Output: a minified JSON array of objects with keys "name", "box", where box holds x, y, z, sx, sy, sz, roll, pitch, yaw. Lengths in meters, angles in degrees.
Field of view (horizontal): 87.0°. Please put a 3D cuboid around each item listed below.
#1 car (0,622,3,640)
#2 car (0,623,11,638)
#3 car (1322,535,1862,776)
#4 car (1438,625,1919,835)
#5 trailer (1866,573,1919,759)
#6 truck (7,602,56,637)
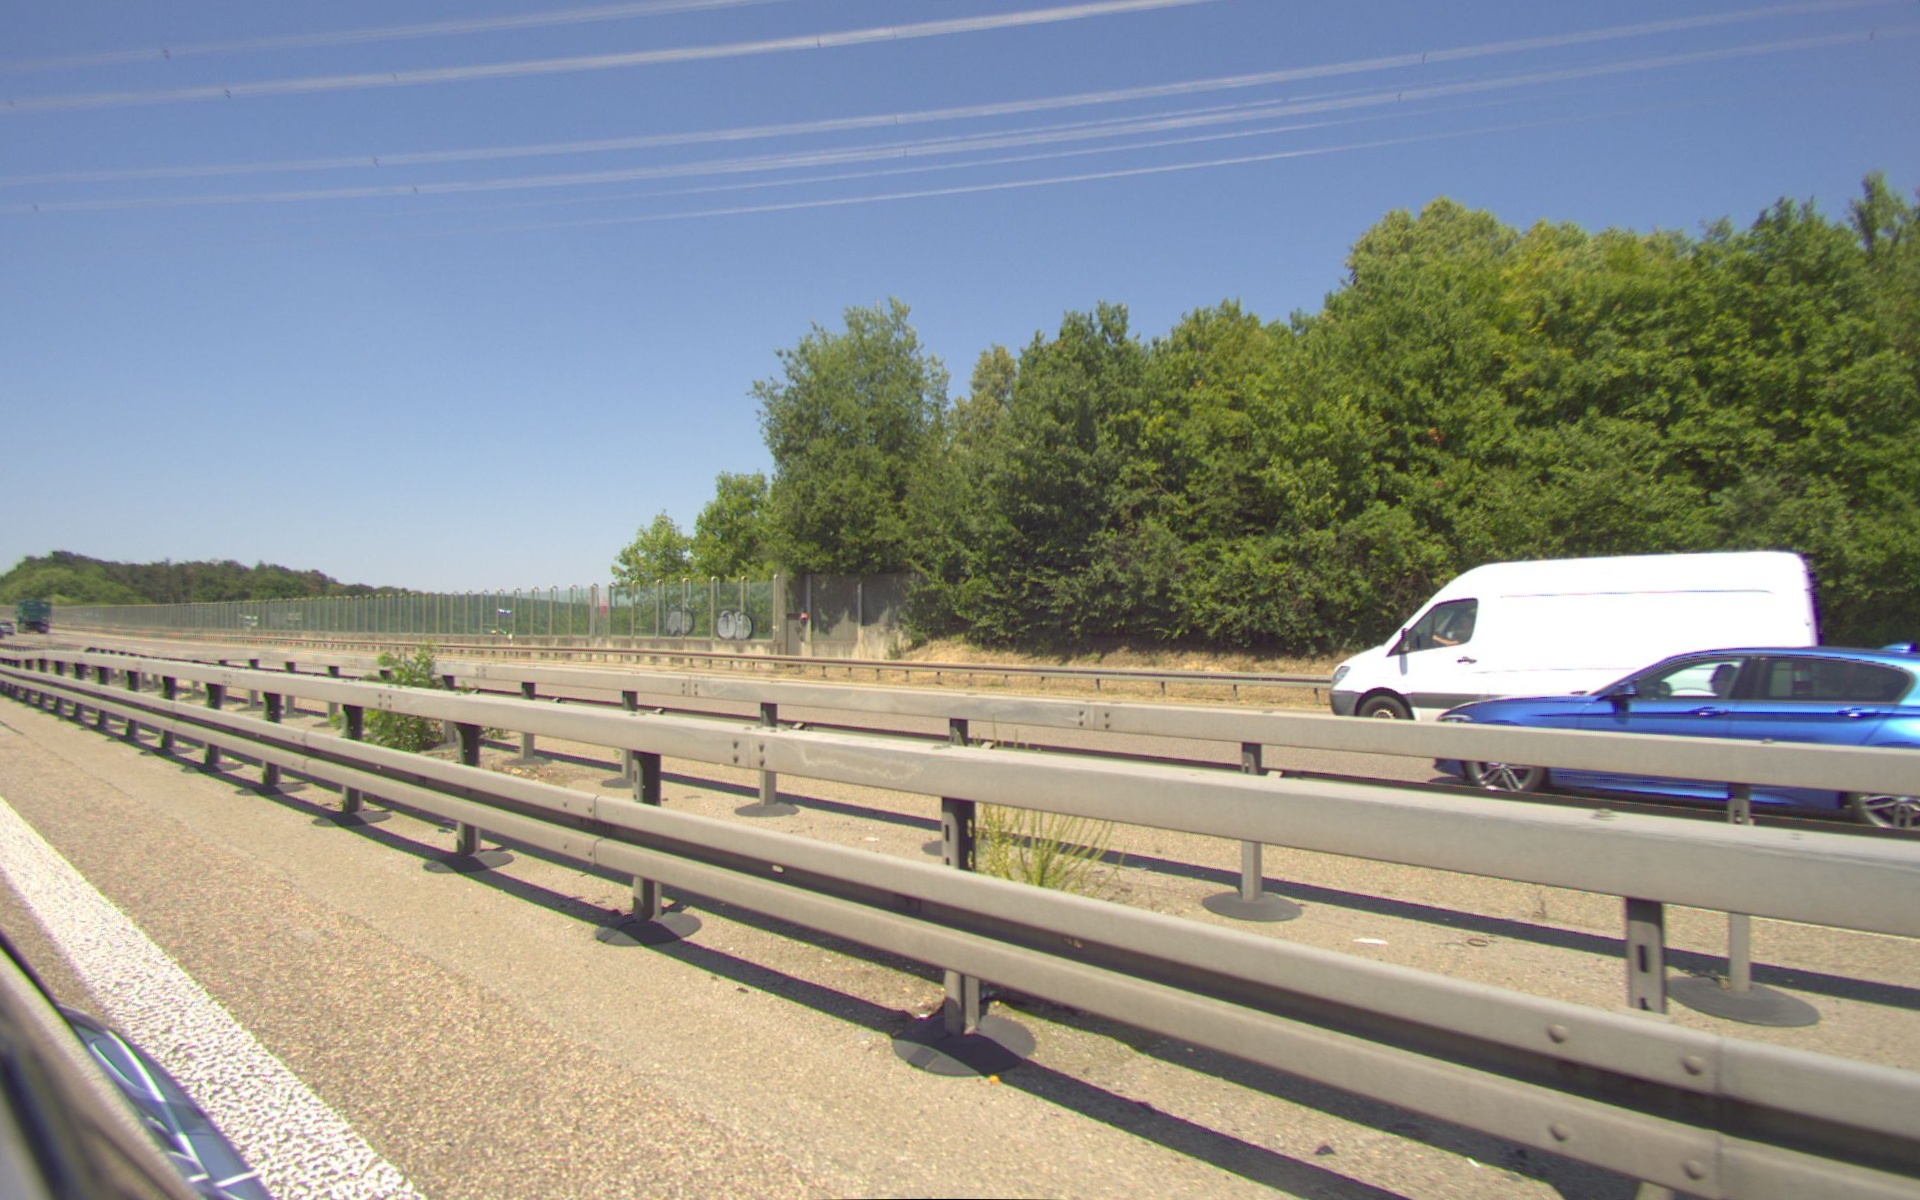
[{"name":"car","box":[-80.063,2.519,83.077,4.486,1.485,1.763,-1,-2,41]},{"name":"car","box":[-107.629,3.398,113.163,4.043,1.617,1.764,-2,-2,40]},{"name":"car","box":[8.354,0.680,13.961,6.000,2.660,2.087,-1,-3,41]},{"name":"car","box":[6.631,0.999,8.593,4.353,1.485,1.763,-1,-4,42]},{"name":"trailer","box":[13.264,0.706,9.707,6.721,1.960,2.735,-1,-3,41]},{"name":"truck","box":[-116.357,2.471,126.748,11.086,4.169,3.272,-1,-4,41]}]
